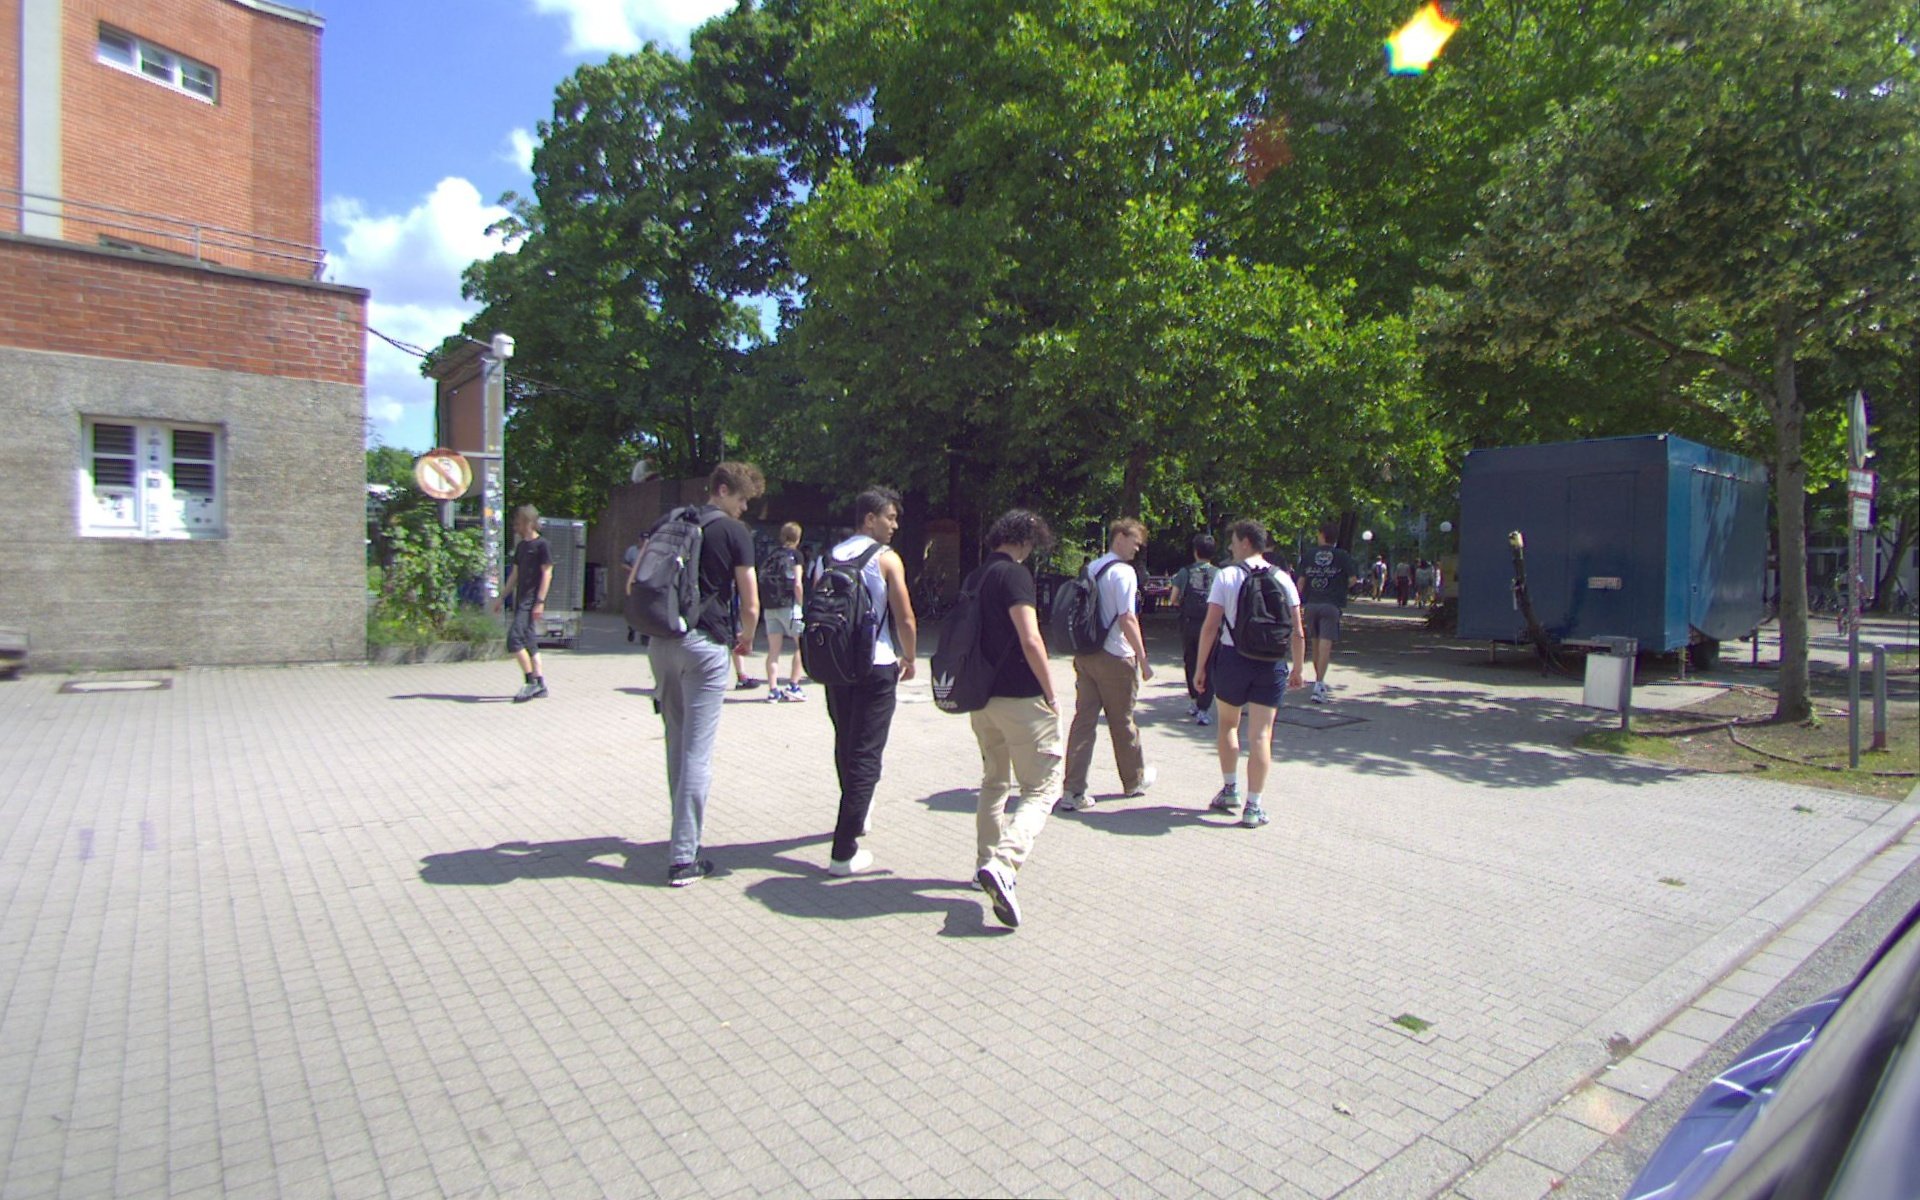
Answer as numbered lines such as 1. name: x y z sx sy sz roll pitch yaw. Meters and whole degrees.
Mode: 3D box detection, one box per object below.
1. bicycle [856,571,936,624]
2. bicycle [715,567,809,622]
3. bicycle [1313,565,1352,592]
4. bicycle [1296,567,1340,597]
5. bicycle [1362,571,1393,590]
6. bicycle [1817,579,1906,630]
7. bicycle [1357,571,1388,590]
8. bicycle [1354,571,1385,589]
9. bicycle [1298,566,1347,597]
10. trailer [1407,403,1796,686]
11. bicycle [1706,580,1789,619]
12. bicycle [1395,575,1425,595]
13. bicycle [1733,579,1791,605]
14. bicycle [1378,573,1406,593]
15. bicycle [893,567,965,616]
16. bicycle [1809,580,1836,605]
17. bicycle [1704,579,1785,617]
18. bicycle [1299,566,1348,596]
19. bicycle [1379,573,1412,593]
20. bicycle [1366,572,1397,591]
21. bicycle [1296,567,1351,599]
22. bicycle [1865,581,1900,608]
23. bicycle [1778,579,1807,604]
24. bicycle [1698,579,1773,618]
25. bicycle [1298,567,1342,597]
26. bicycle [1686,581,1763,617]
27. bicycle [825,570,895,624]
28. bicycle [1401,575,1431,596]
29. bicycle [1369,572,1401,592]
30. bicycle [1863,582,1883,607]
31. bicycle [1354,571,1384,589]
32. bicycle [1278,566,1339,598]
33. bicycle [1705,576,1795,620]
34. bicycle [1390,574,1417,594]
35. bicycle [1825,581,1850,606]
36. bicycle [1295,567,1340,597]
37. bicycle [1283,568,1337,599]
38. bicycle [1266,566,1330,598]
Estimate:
1. bicycle: -1.476 -0.092 22.703 0.767 1.085 2.407 -1 3 -31
2. bicycle: -4.343 -0.133 22.256 1.990 1.154 0.575 0 2 -39
3. bicycle: 16.704 -0.972 45.362 1.593 1.107 0.475 3 3 23
4. bicycle: 14.355 -0.726 40.622 1.600 1.107 0.344 4 3 34
5. bicycle: 24.818 -1.130 60.179 1.654 1.097 0.479 0 -1 -6
6. bicycle: 21.549 0.104 24.180 2.249 1.137 0.654 0 4 -25
7. bicycle: 24.720 -1.163 60.646 1.656 1.097 0.478 0 -1 1
8. bicycle: 24.716 -1.196 61.141 1.656 1.097 0.478 0 -1 1
9. bicycle: 14.174 -0.730 39.577 1.736 1.107 0.474 3 3 26
10. trailer: 9.087 -0.708 14.068 6.146 3.088 2.698 -1 3 -40
11. bicycle: 23.891 -0.043 30.732 1.942 1.095 0.399 3 2 41
12. bicycle: 24.604 -0.819 55.354 1.445 1.097 0.352 0 -1 3
13. bicycle: 36.062 -0.376 45.503 1.897 1.123 0.630 1 3 16
14. bicycle: 24.159 -0.930 56.625 1.441 1.097 0.353 1 -1 -9
15. bicycle: -0.750 -0.218 23.620 0.767 1.085 2.408 0 1 -26
16. bicycle: 41.391 -0.356 48.544 1.663 1.099 0.482 2 2 -33
17. bicycle: 24.523 -0.075 31.667 1.942 1.095 0.399 3 2 41
18. bicycle: 14.317 -0.741 39.892 1.736 1.107 0.474 3 3 26
19. bicycle: 24.605 -0.939 57.181 1.659 1.097 0.478 0 -1 6
20. bicycle: 24.871 -1.095 59.696 1.654 1.097 0.479 0 -1 -6
21. bicycle: 12.992 -0.612 36.195 1.770 1.052 0.430 3 3 31
22. bicycle: 42.642 -0.231 46.772 1.494 1.155 0.493 3 2 -19
23. bicycle: 40.794 -0.423 49.591 1.663 1.139 0.566 2 2 -33
24. bicycle: 23.447 -0.063 30.624 1.766 1.095 0.432 3 2 41
25. bicycle: 14.543 -0.734 40.925 1.600 1.107 0.344 4 3 34
26. bicycle: 24.734 -0.041 32.772 1.897 1.072 0.322 3 2 29
27. bicycle: -2.224 -0.107 22.204 0.767 1.085 2.409 0 2 -25
28. bicycle: 24.333 -0.780 54.016 1.442 1.097 0.353 0 -1 -4
29. bicycle: 24.708 -1.051 58.869 1.654 1.097 0.479 0 -1 -6
30. bicycle: 42.825 -0.241 47.482 1.415 1.099 0.460 2 2 -41
31. bicycle: 25.066 -1.230 61.997 1.656 1.097 0.478 0 -1 1
32. bicycle: 12.188 -0.638 35.403 1.946 1.052 0.430 4 3 33
33. bicycle: 22.981 -0.065 29.454 2.012 1.181 0.642 3 2 41
34. bicycle: 24.673 -0.879 56.335 1.441 1.097 0.353 1 -1 -12
35. bicycle: 41.910 -0.309 48.331 1.485 1.099 0.482 2 2 -33
36. bicycle: 14.343 -0.728 40.628 1.600 1.107 0.344 4 3 34
37. bicycle: 12.867 -0.630 37.204 1.770 1.052 0.473 3 3 31
38. bicycle: 11.444 -0.615 34.335 1.946 0.991 0.606 4 3 33
